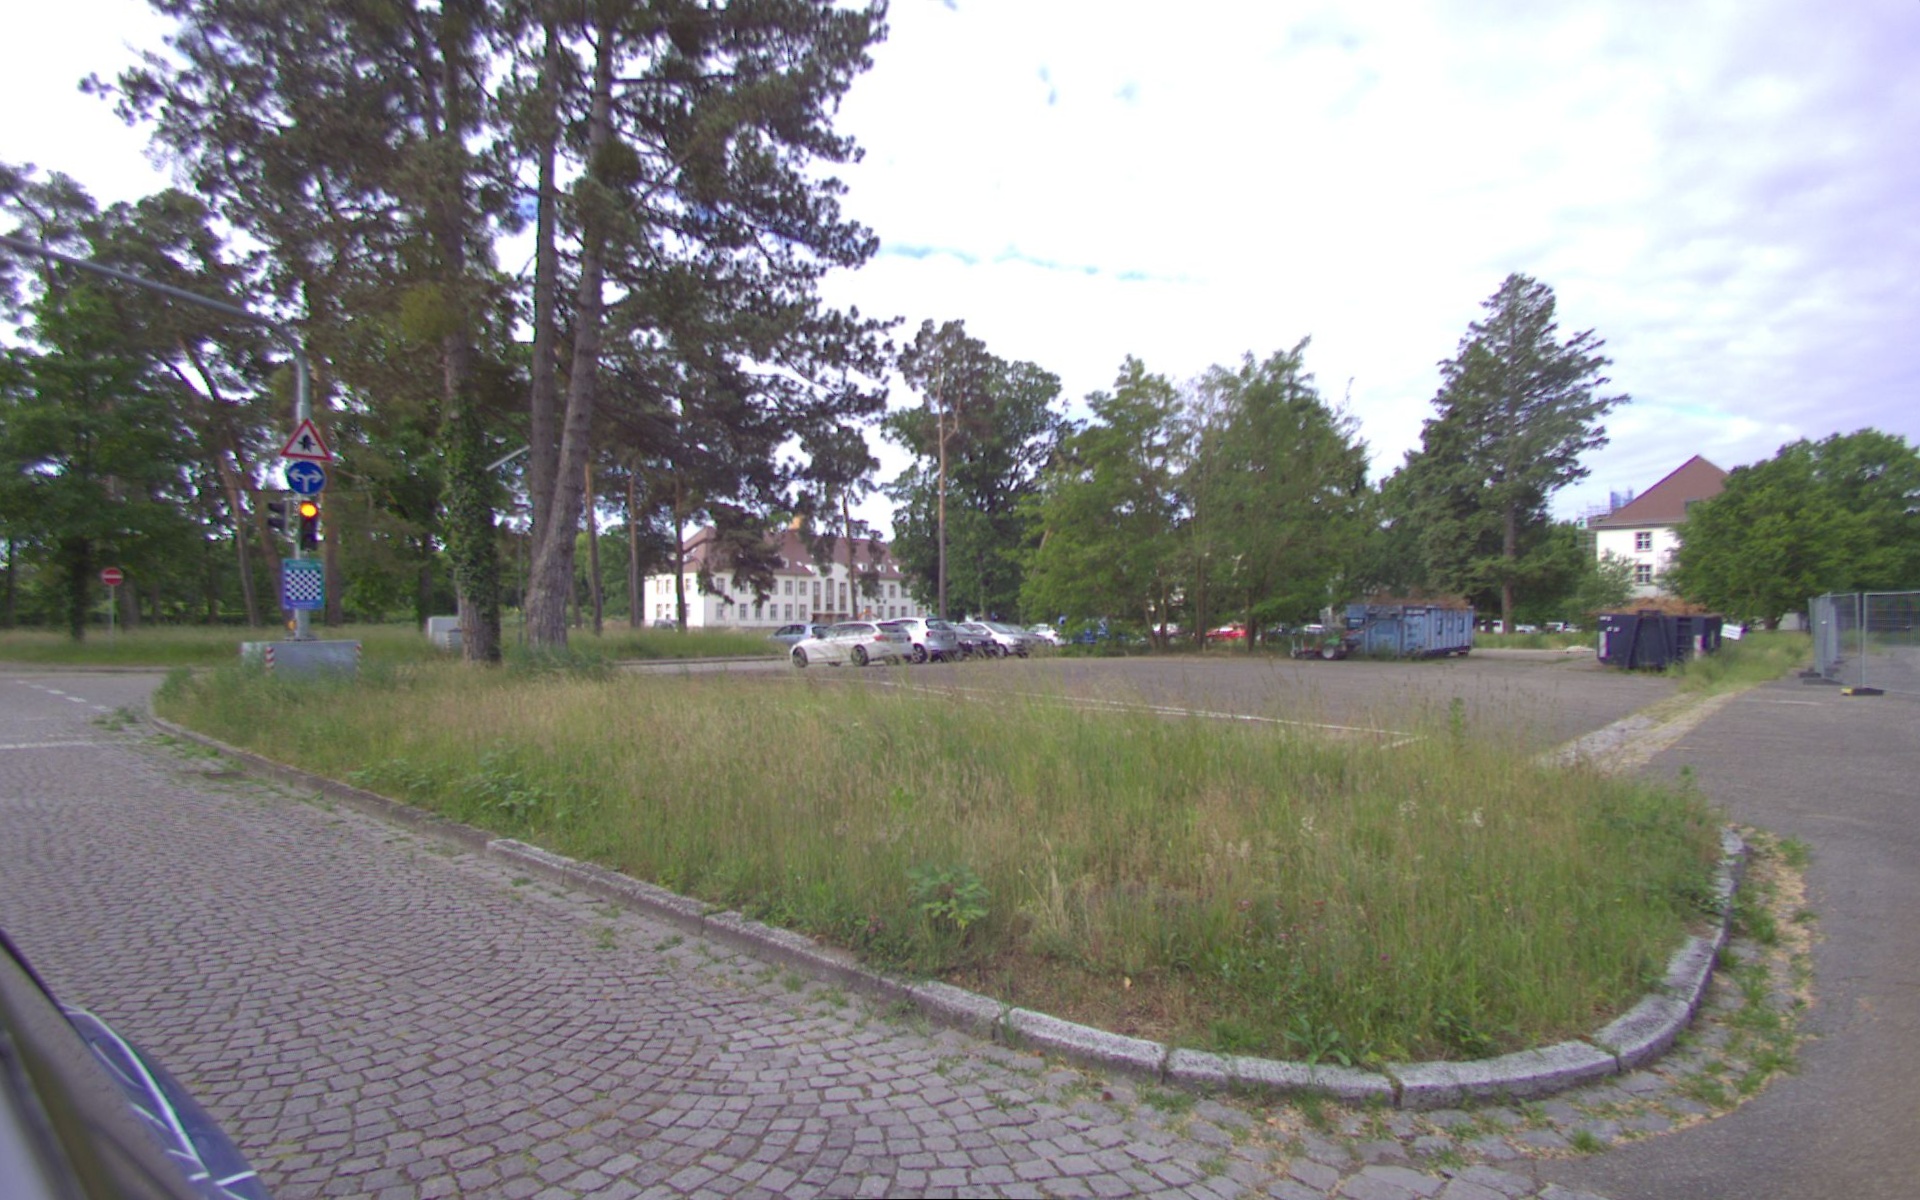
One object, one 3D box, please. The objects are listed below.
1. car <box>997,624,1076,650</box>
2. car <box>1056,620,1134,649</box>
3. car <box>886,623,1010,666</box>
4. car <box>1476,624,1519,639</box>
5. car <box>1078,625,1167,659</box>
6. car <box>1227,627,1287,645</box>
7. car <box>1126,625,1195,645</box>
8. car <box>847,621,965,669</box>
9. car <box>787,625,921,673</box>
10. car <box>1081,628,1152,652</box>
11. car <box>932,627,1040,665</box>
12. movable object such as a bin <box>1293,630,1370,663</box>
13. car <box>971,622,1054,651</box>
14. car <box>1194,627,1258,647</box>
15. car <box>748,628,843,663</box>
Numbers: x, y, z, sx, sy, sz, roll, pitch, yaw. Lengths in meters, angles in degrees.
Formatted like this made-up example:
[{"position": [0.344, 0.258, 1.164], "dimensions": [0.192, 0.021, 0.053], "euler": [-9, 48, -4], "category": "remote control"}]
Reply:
[{"position": [4.461, 2.157, 59.452], "dimensions": [4.395, 1.486, 1.807], "euler": [-1, -2, 37], "category": "car"}, {"position": [8.367, 2.138, 62.941], "dimensions": [4.580, 1.736, 1.805], "euler": [-2, -2, 41], "category": "car"}, {"position": [-0.476, 1.601, 36.931], "dimensions": [4.397, 1.486, 1.806], "euler": [-1, -2, 39], "category": "car"}, {"position": [64.885, 3.767, 122.192], "dimensions": [4.290, 1.735, 1.805], "euler": [-2, 0, 43], "category": "car"}, {"position": [7.287, 1.871, 45.481], "dimensions": [3.589, 1.486, 1.658], "euler": [-1, -2, 39], "category": "car"}, {"position": [23.634, 2.838, 80.601], "dimensions": [1.684, 1.361, 4.412], "euler": [1, -2, -37], "category": "car"}, {"position": [13.809, 2.417, 69.850], "dimensions": [4.400, 1.361, 1.688], "euler": [-2, -2, 41], "category": "car"}, {"position": [-1.887, 1.550, 34.687], "dimensions": [3.894, 1.532, 1.653], "euler": [-4, -3, 39], "category": "car"}, {"position": [-3.477, 1.539, 32.788], "dimensions": [4.316, 1.436, 1.806], "euler": [-1, -2, 39], "category": "car"}, {"position": [10.014, 2.528, 64.835], "dimensions": [4.188, 1.486, 1.805], "euler": [-2, -2, 41], "category": "car"}, {"position": [0.977, 1.749, 39.329], "dimensions": [4.033, 1.410, 1.616], "euler": [-1, -2, 39], "category": "car"}, {"position": [11.556, 1.439, 31.501], "dimensions": [1.953, 0.976, 1.431], "euler": [-1, -2, 34], "category": "movable object such as a bin"}, {"position": [2.948, 2.038, 56.929], "dimensions": [4.395, 1.486, 1.808], "euler": [-1, 0, 37], "category": "car"}, {"position": [20.384, 2.814, 77.735], "dimensions": [4.400, 1.486, 1.805], "euler": [-2, -2, 41], "category": "car"}, {"position": [-7.476, 2.026, 45.709], "dimensions": [4.397, 1.486, 1.806], "euler": [-1, -2, 39], "category": "car"}]
